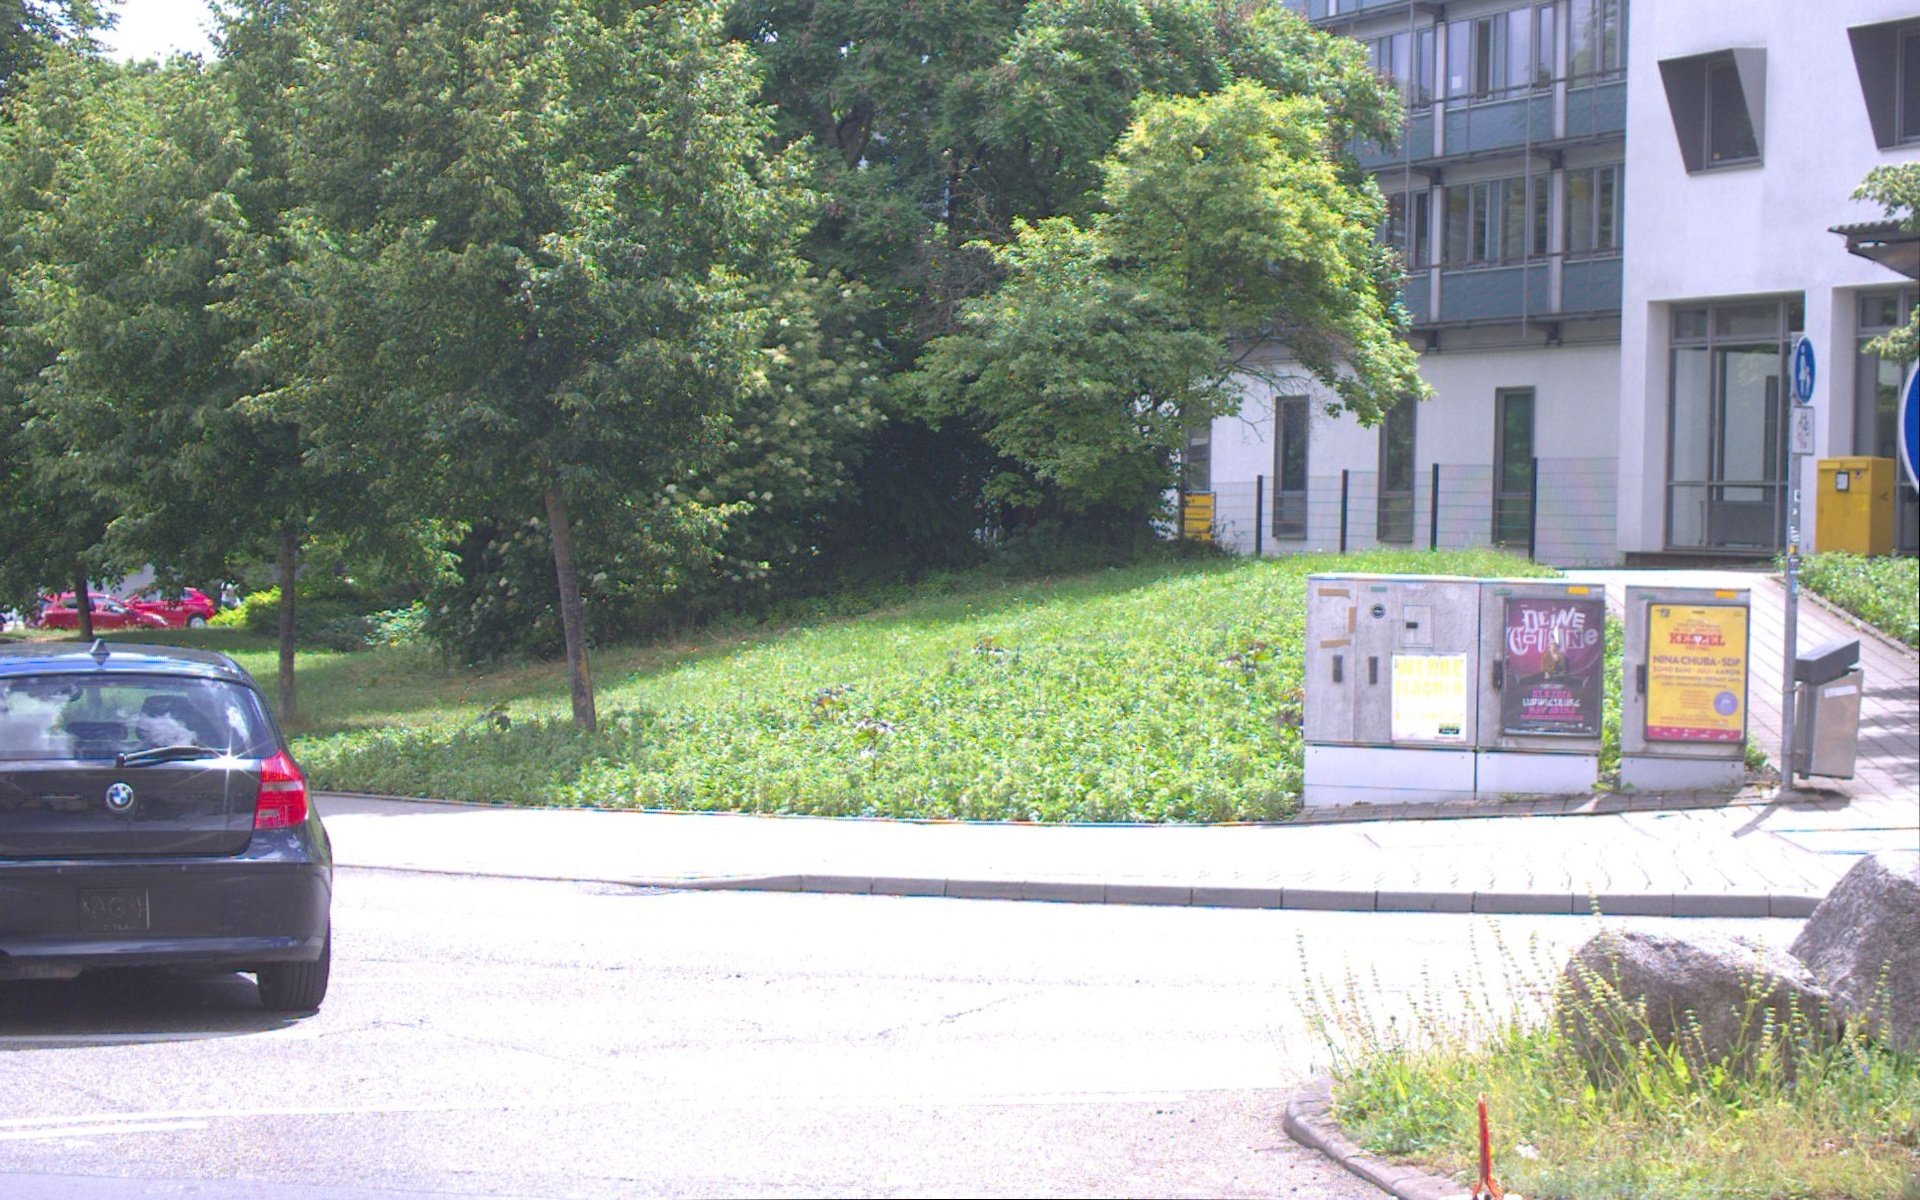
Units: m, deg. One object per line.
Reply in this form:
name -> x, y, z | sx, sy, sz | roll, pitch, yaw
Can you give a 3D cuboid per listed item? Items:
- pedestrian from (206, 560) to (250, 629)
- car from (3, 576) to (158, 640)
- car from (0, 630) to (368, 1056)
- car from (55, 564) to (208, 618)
pedestrian -> -18.753, -0.144, 88.059 | 0.985, 1.754, 0.858 | 0, 0, -20
car -> -23.966, 0.224, 93.709 | 3.686, 1.638, 1.830 | 1, 2, -32
car -> -3.619, 0.867, 14.001 | 1.815, 1.416, 4.001 | 0, 0, -18
car -> -25.062, -0.281, 103.968 | 4.081, 1.497, 2.000 | -1, 3, -32
